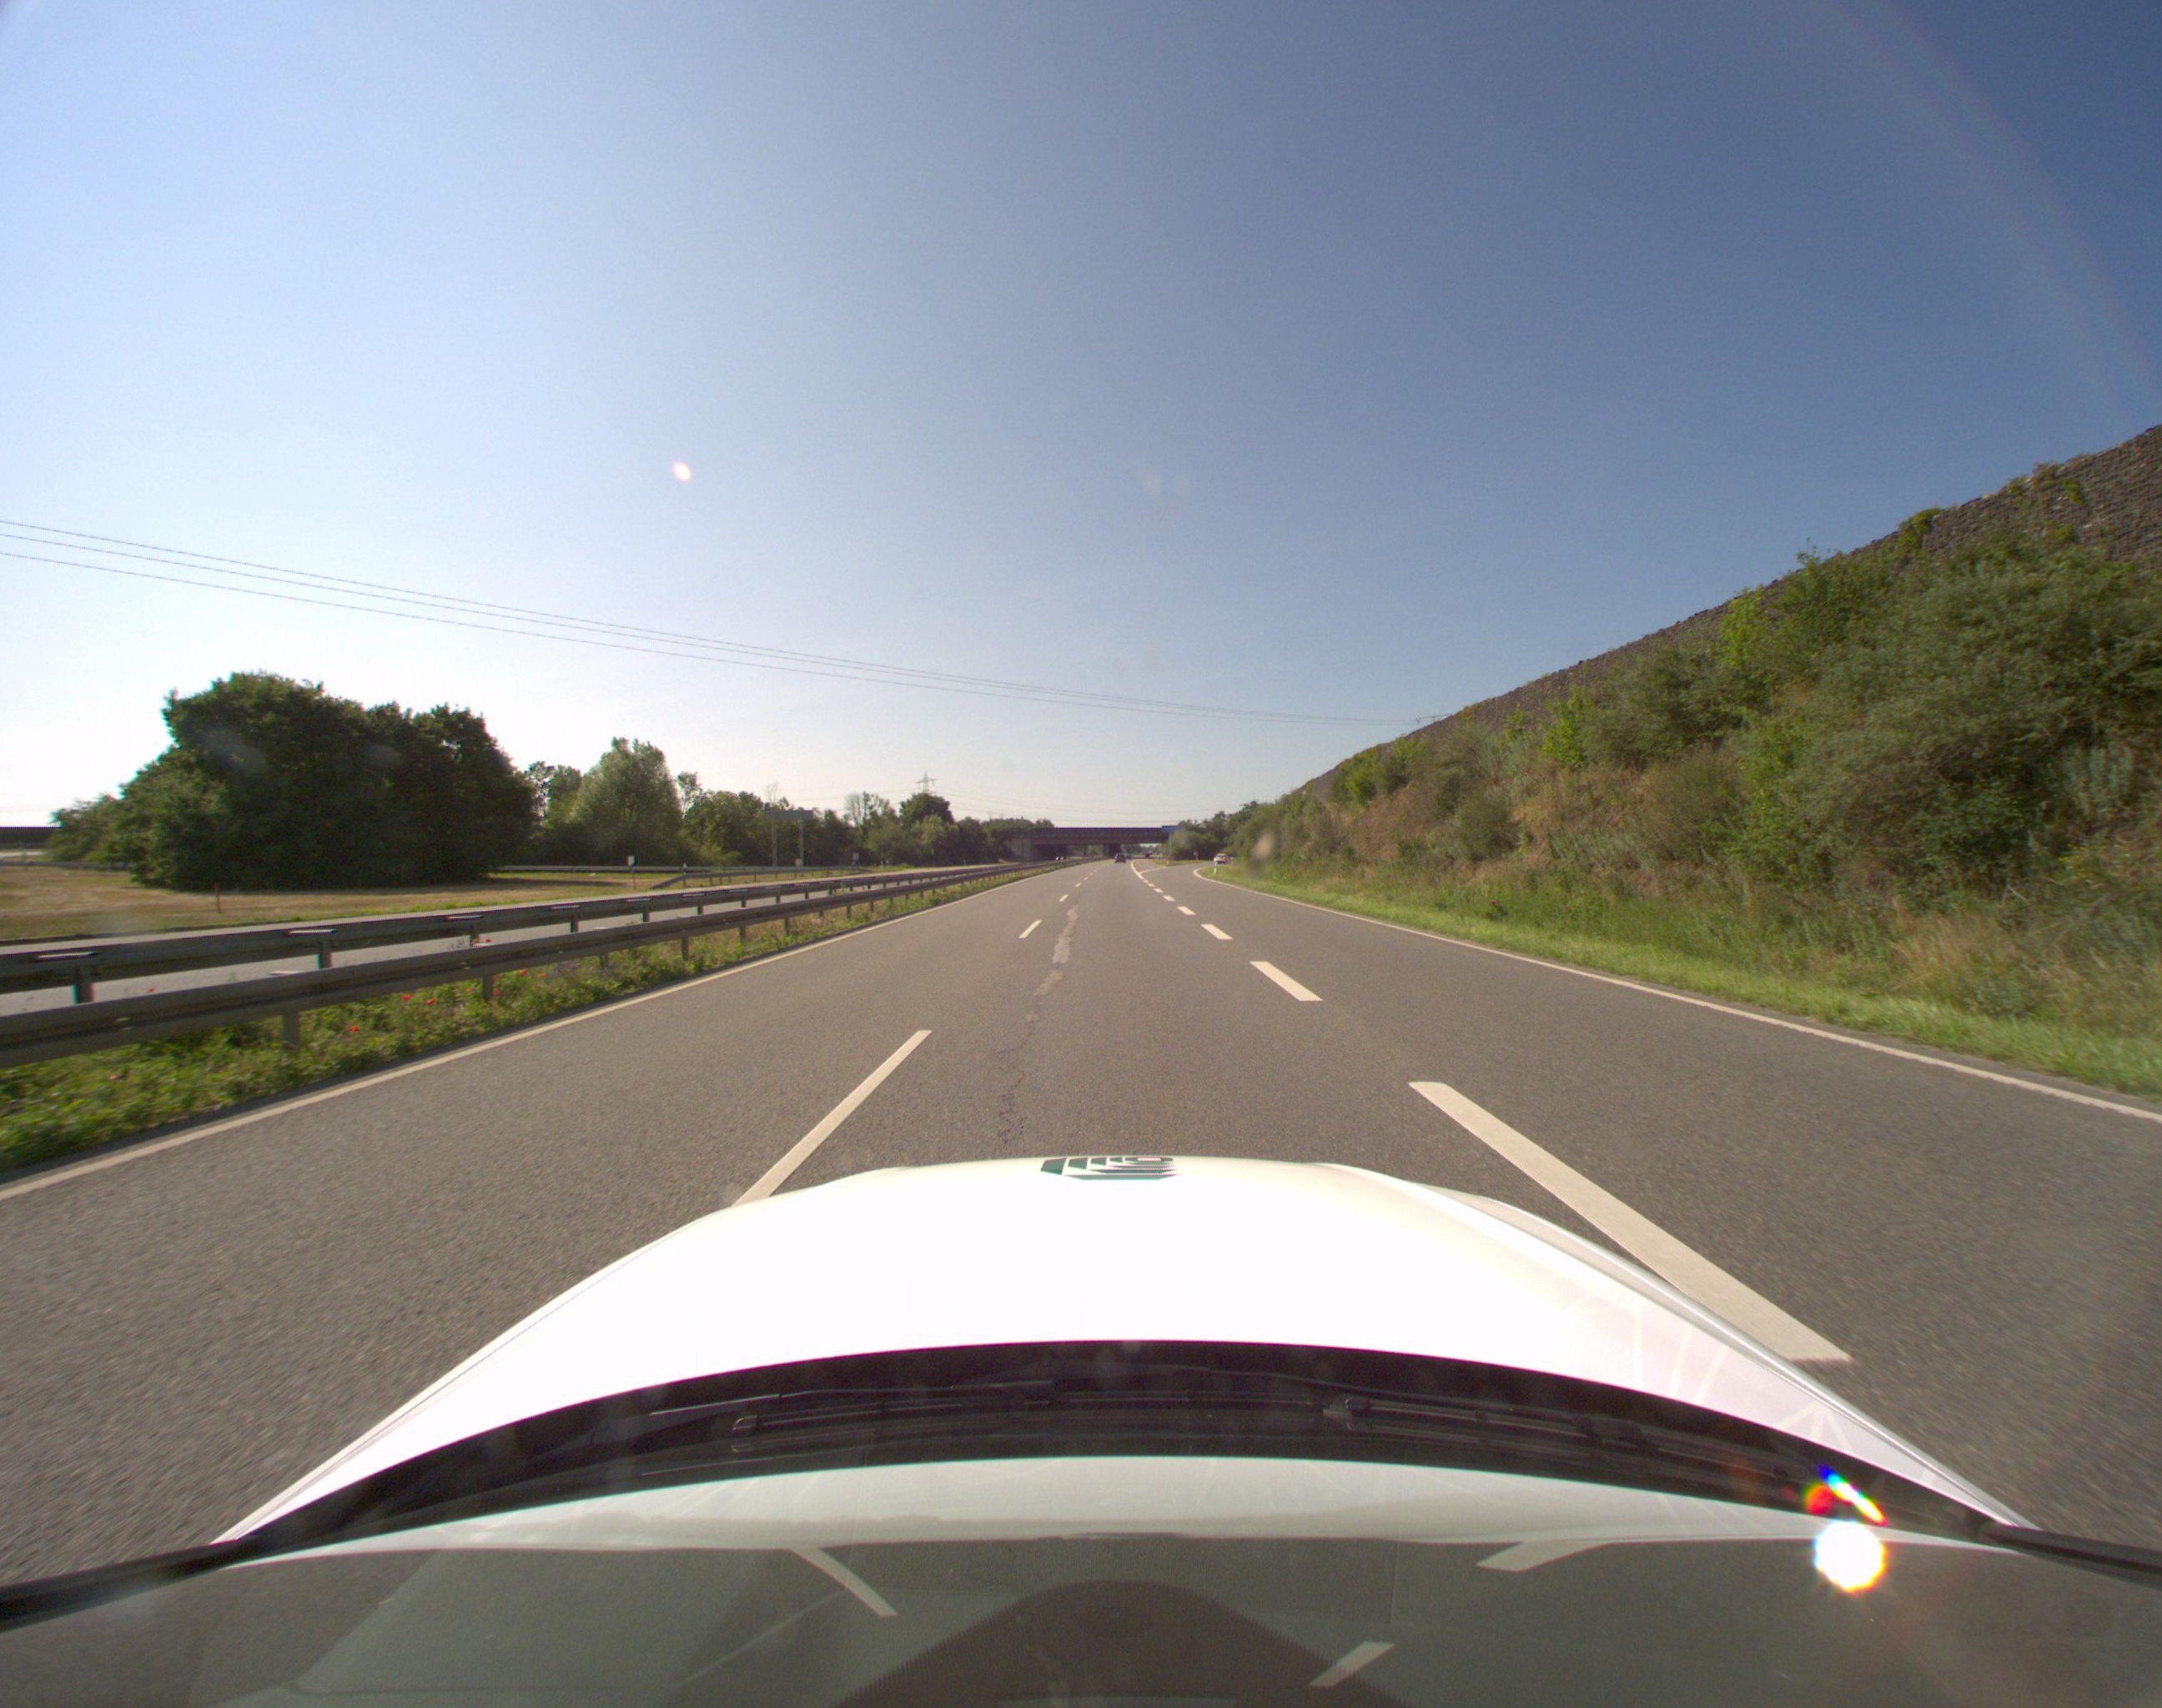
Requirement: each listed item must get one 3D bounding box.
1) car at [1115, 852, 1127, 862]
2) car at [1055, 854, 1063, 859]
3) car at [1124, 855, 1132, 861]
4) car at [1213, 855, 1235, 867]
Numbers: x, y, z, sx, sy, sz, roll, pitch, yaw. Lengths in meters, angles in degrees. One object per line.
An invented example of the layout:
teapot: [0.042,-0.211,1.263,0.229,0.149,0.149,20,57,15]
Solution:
car: [6.772,0.468,138.437,1.841,1.644,4.004,0,0,4]
car: [-6.074,0.609,224.934,1.667,1.410,3.766,1,0,3]
car: [12.124,0.971,209.439,1.841,1.644,4.004,0,0,4]
car: [20.979,1.075,119.670,1.779,1.665,4.025,2,0,32]
